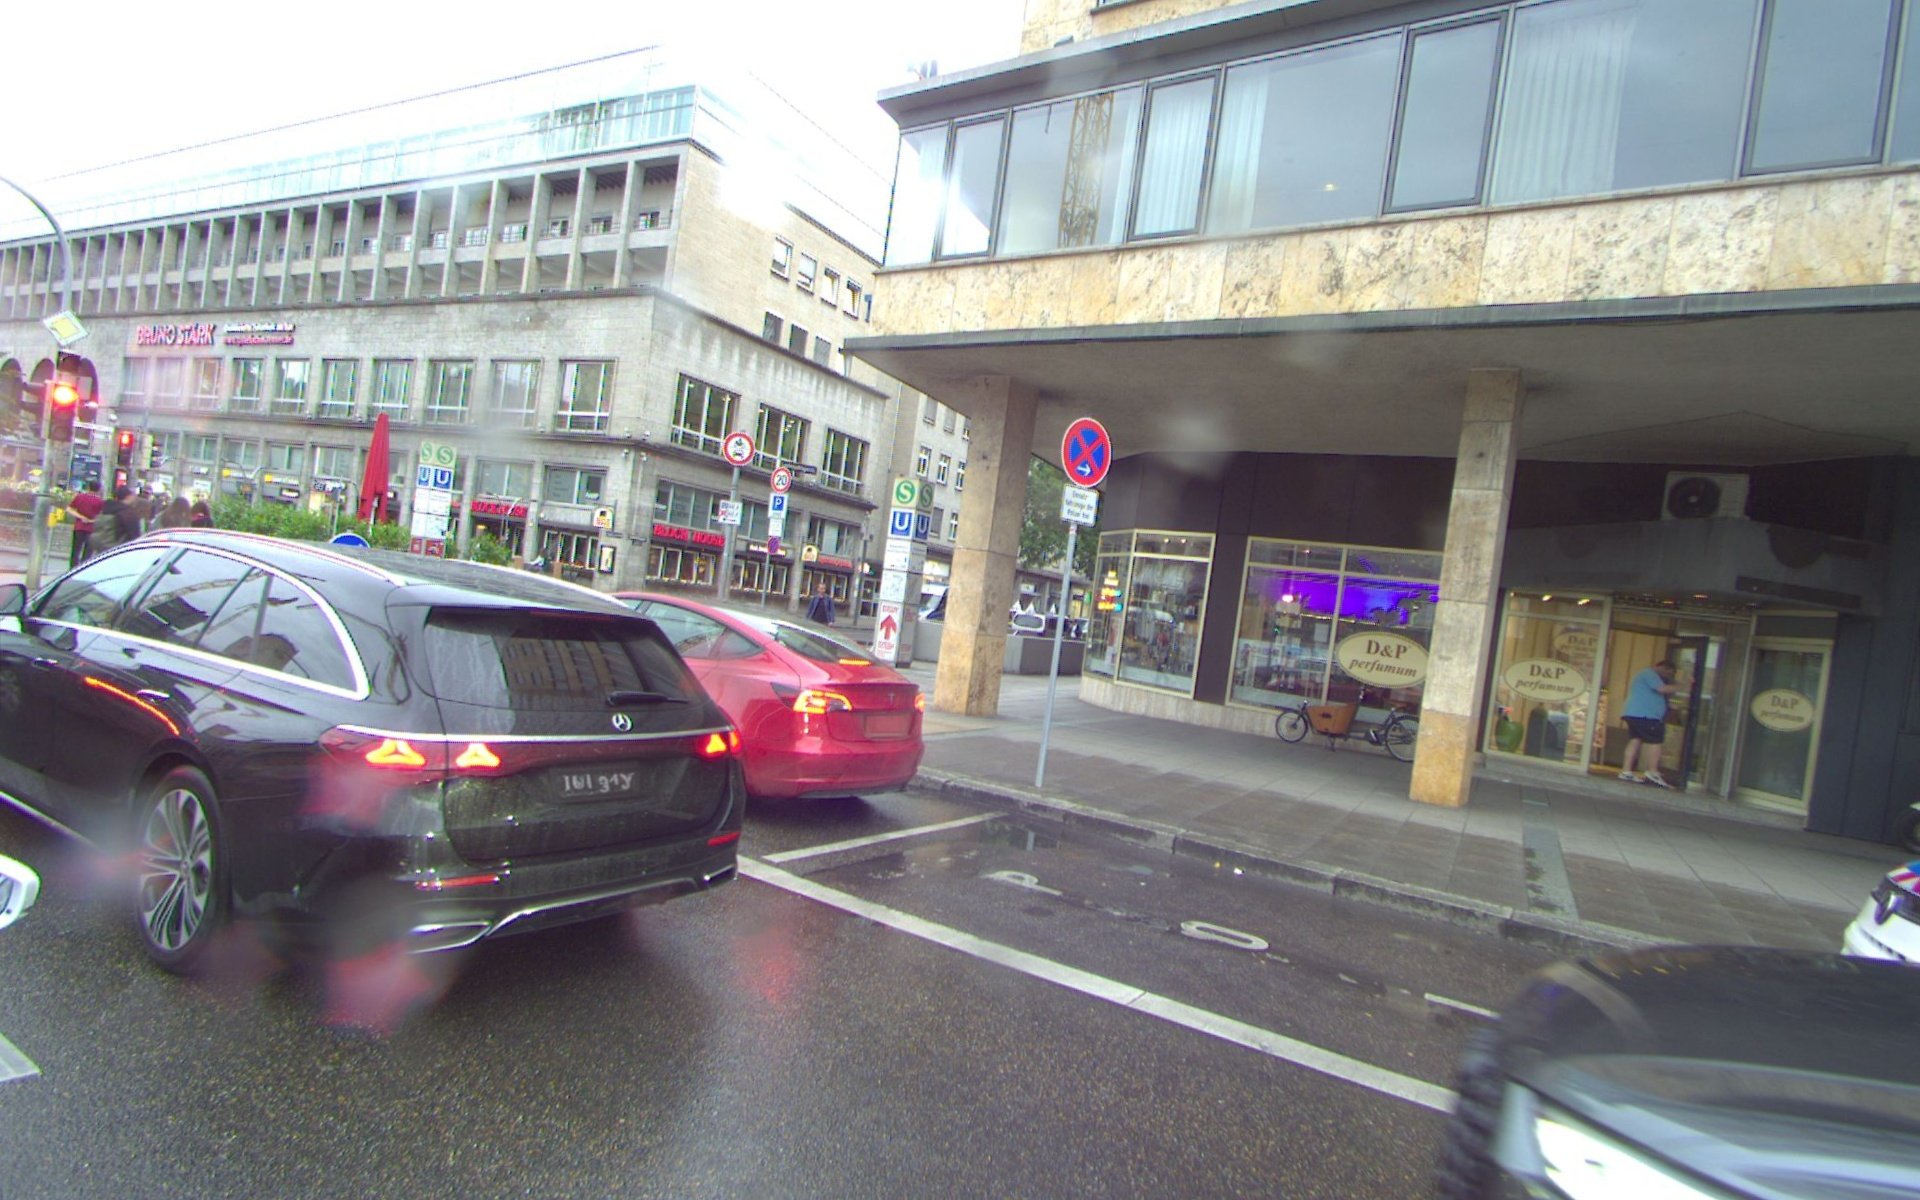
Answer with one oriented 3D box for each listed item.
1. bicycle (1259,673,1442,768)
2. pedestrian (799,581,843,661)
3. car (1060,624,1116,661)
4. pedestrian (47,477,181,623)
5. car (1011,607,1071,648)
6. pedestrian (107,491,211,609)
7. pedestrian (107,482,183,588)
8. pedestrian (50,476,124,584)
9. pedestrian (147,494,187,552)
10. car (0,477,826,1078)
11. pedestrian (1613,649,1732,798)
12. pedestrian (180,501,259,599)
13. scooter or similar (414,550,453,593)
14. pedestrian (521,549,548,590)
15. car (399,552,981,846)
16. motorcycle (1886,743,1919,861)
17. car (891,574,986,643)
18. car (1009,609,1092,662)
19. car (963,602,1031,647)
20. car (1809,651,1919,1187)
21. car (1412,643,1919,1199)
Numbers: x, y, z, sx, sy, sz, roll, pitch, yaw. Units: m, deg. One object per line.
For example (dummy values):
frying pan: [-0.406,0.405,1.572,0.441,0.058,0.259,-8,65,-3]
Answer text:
bicycle: [5.923,1.805,15.341,2.431,1.058,0.657,6,-1,32]
pedestrian: [-3.302,0.498,23.908,0.768,1.777,0.503,8,-1,-15]
car: [9.065,3.038,70.685,1.966,2.065,4.832,7,-2,30]
pedestrian: [-11.045,-0.627,13.163,0.642,1.774,1.097,7,2,29]
car: [5.177,1.805,63.933,1.966,2.065,4.483,7,-2,29]
pedestrian: [-12.225,-0.753,15.361,0.884,1.645,0.795,7,-1,28]
pedestrian: [-14.376,-1.136,17.753,0.458,1.737,0.757,7,-1,28]
pedestrian: [-15.237,-1.205,17.580,0.561,1.772,0.678,7,-1,-15]
pedestrian: [-30.300,-2.937,38.452,0.754,2.037,0.822,8,-1,-16]
car: [-3.034,0.396,4.661,4.552,1.519,1.797,6,-2,32]
pedestrian: [9.727,1.665,13.733,1.119,1.811,0.798,6,-1,39]
pedestrian: [-13.392,-0.892,18.203,0.609,1.627,0.801,7,-1,28]
scooter or similar: [-16.358,-0.877,31.257,1.000,1.203,0.291,7,-1,13]
pedestrian: [-17.026,-1.224,40.265,0.748,1.530,0.714,8,-1,-16]
car: [-2.292,0.650,8.160,4.451,1.503,1.878,6,-2,31]
motorcycle: [11.149,2.278,10.477,2.074,1.232,0.567,6,-2,40]
car: [-0.989,0.527,51.348,1.965,2.792,6.187,7,-2,26]
car: [4.263,1.694,46.811,1.966,1.995,4.638,7,-1,29]
car: [2.204,1.476,58.424,1.966,2.065,4.557,7,-2,29]
car: [5.972,1.420,2.994,4.853,1.942,1.878,6,-2,31]
car: [2.941,1.114,1.126,4.271,1.519,1.882,6,-2,32]
